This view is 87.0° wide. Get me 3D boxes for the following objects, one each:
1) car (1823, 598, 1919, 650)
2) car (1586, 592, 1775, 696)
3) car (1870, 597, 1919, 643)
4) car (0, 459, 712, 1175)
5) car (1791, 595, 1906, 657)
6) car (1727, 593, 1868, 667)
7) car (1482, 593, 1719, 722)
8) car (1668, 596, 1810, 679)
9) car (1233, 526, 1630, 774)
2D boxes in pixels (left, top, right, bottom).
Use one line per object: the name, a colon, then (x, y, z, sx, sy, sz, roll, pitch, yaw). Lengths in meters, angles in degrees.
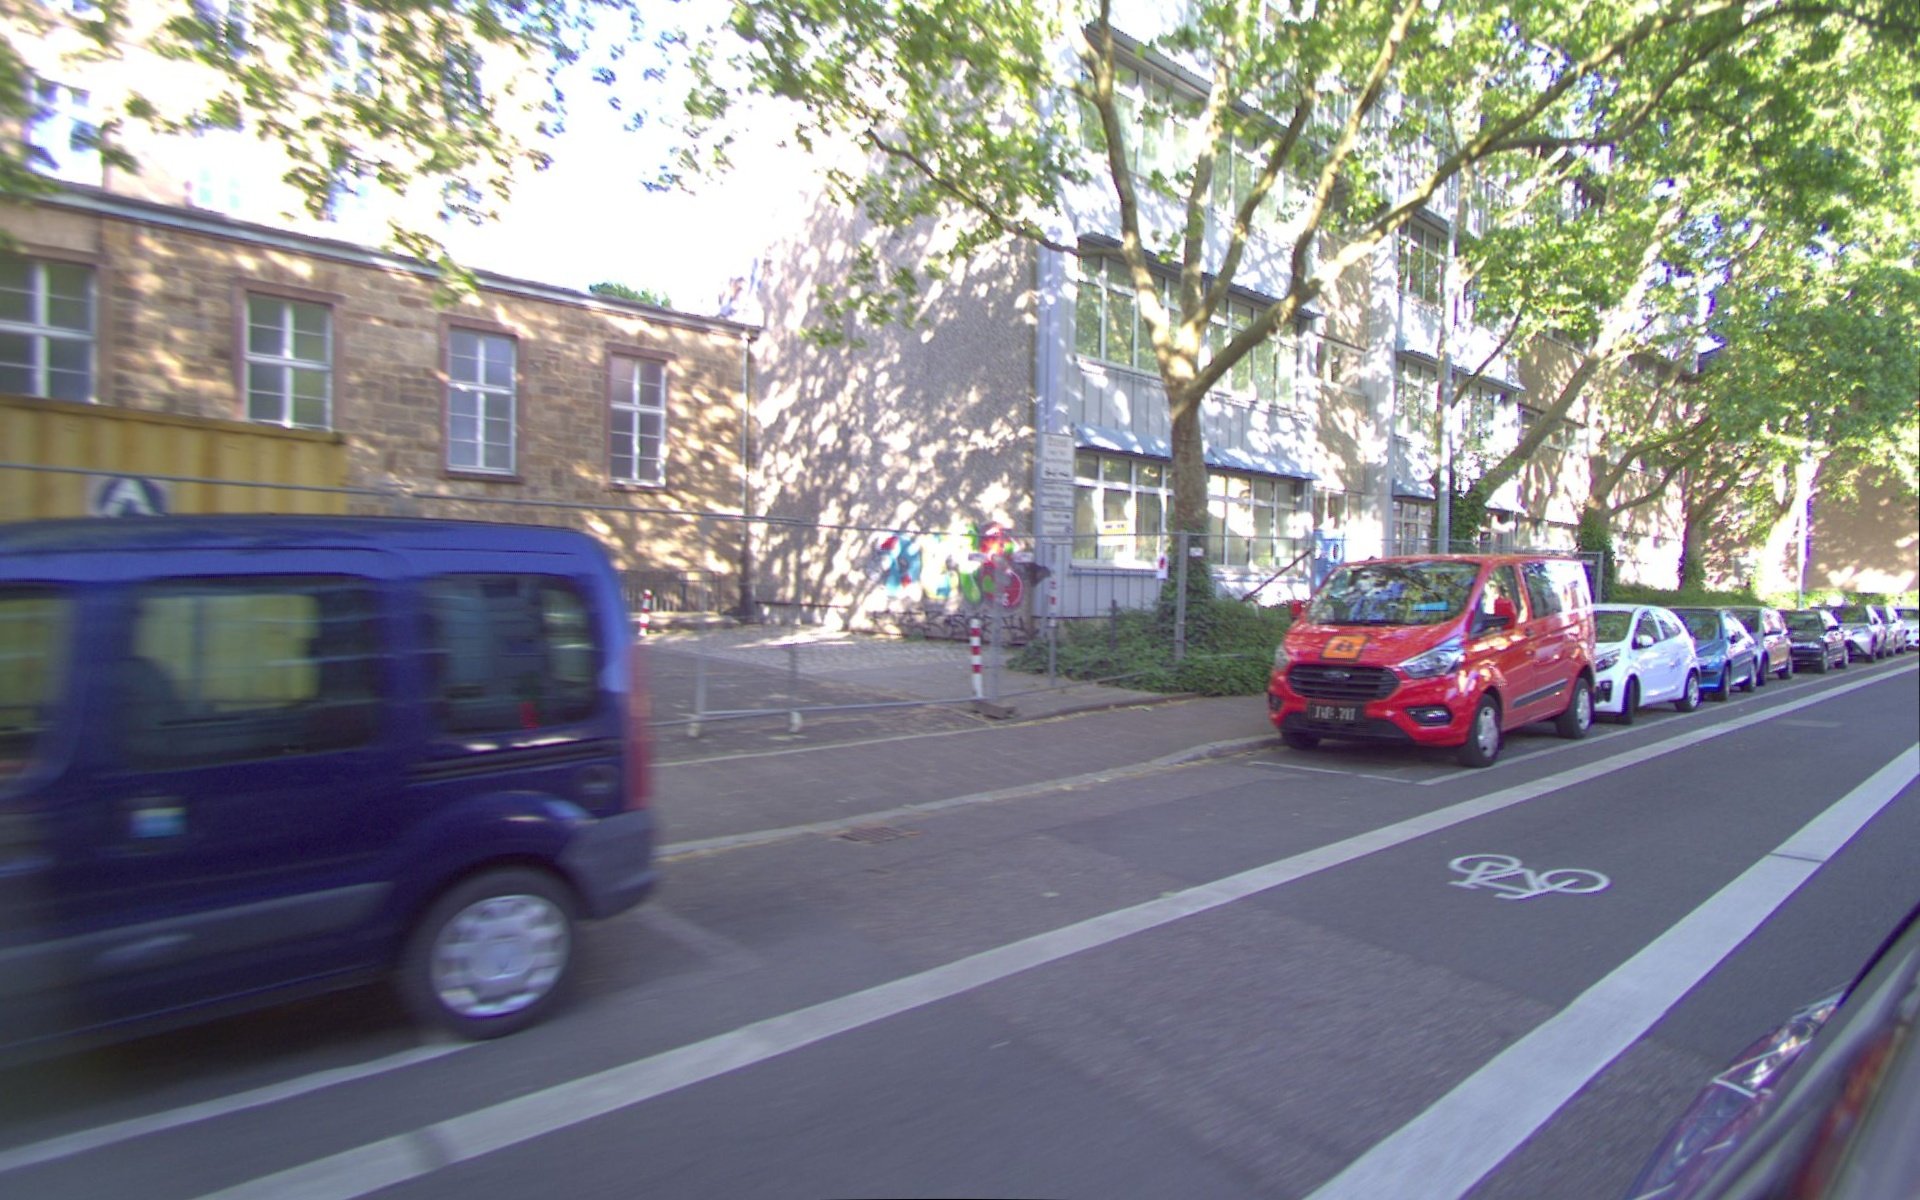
car: (27.707, 0.666, 30.624, 4.523, 1.455, 1.858, 0, 0, -42)
car: (12.089, 0.669, 16.896, 3.863, 1.530, 1.856, 1, -2, -44)
car: (32.216, 0.620, 34.218, 4.888, 1.455, 1.856, 0, 1, -44)
car: (-3.041, 0.564, 3.233, 4.056, 1.836, 1.696, 0, -1, -40)
car: (24.083, 0.646, 27.390, 4.223, 1.542, 1.858, 0, 0, -42)
car: (19.385, 0.637, 23.359, 4.519, 1.542, 1.857, 0, -1, -42)
car: (8.717, 0.683, 13.674, 3.692, 1.504, 1.641, 0, -1, -40)
car: (15.368, 0.687, 19.918, 3.432, 1.494, 1.615, 0, -1, -42)
car: (5.195, 0.409, 10.753, 5.084, 2.019, 2.080, 0, -1, -43)
